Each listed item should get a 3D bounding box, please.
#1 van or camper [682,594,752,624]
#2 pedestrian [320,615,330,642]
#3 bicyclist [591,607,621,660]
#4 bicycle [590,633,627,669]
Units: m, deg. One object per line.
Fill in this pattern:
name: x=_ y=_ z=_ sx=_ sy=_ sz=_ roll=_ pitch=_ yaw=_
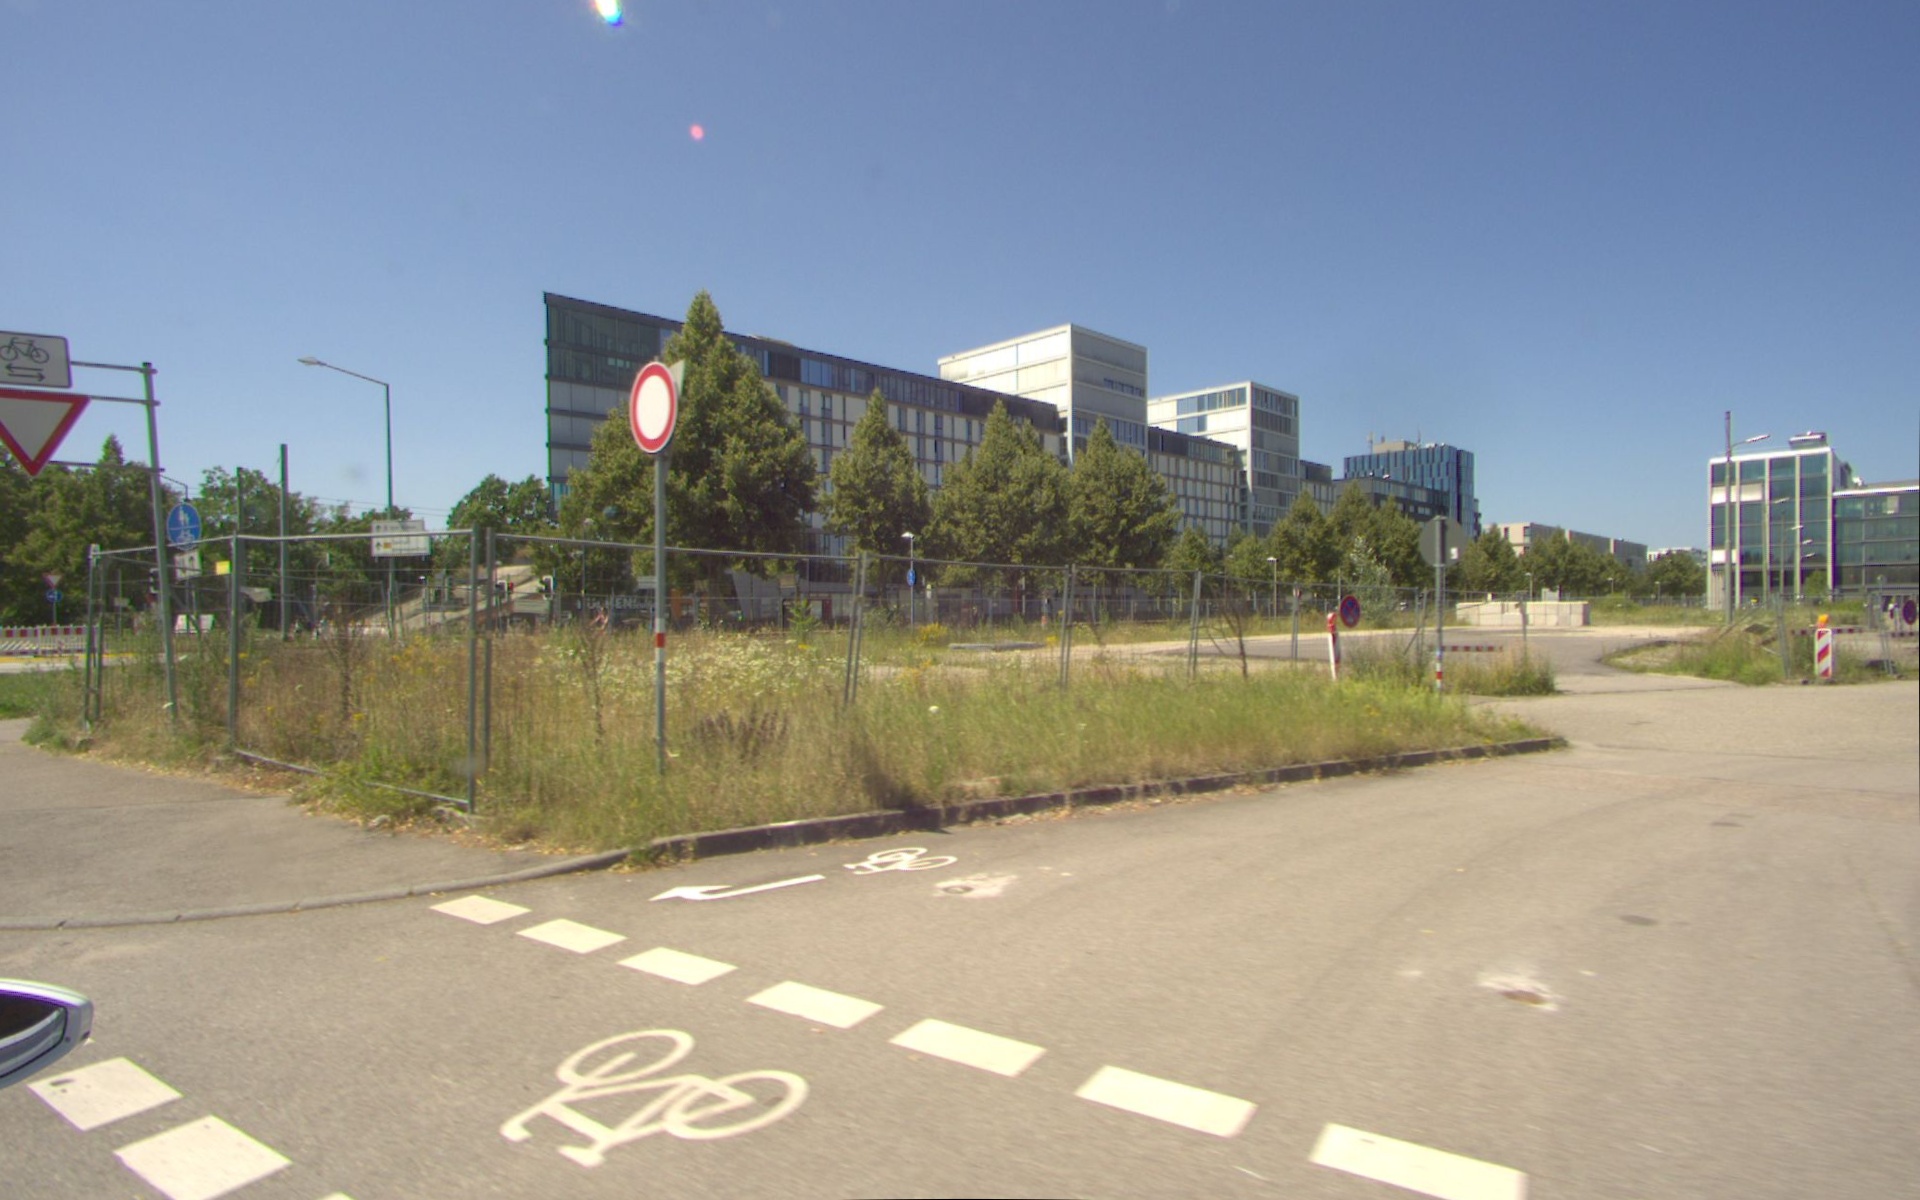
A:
van or camper: x=-24.449 y=0.937 z=100.998 sx=2.356 sy=2.859 sz=6.730 roll=0 pitch=-1 yaw=42
pedestrian: x=-40.926 y=1.820 z=64.545 sx=0.314 sy=1.761 sz=0.445 roll=0 pitch=0 yaw=44
bicyclist: x=-11.408 y=1.073 z=32.287 sx=0.633 sy=1.686 sz=0.710 roll=-2 pitch=0 yaw=0
bicycle: x=-11.301 y=1.618 z=32.261 sx=0.431 sy=1.072 sz=2.088 roll=-1 pitch=0 yaw=0
